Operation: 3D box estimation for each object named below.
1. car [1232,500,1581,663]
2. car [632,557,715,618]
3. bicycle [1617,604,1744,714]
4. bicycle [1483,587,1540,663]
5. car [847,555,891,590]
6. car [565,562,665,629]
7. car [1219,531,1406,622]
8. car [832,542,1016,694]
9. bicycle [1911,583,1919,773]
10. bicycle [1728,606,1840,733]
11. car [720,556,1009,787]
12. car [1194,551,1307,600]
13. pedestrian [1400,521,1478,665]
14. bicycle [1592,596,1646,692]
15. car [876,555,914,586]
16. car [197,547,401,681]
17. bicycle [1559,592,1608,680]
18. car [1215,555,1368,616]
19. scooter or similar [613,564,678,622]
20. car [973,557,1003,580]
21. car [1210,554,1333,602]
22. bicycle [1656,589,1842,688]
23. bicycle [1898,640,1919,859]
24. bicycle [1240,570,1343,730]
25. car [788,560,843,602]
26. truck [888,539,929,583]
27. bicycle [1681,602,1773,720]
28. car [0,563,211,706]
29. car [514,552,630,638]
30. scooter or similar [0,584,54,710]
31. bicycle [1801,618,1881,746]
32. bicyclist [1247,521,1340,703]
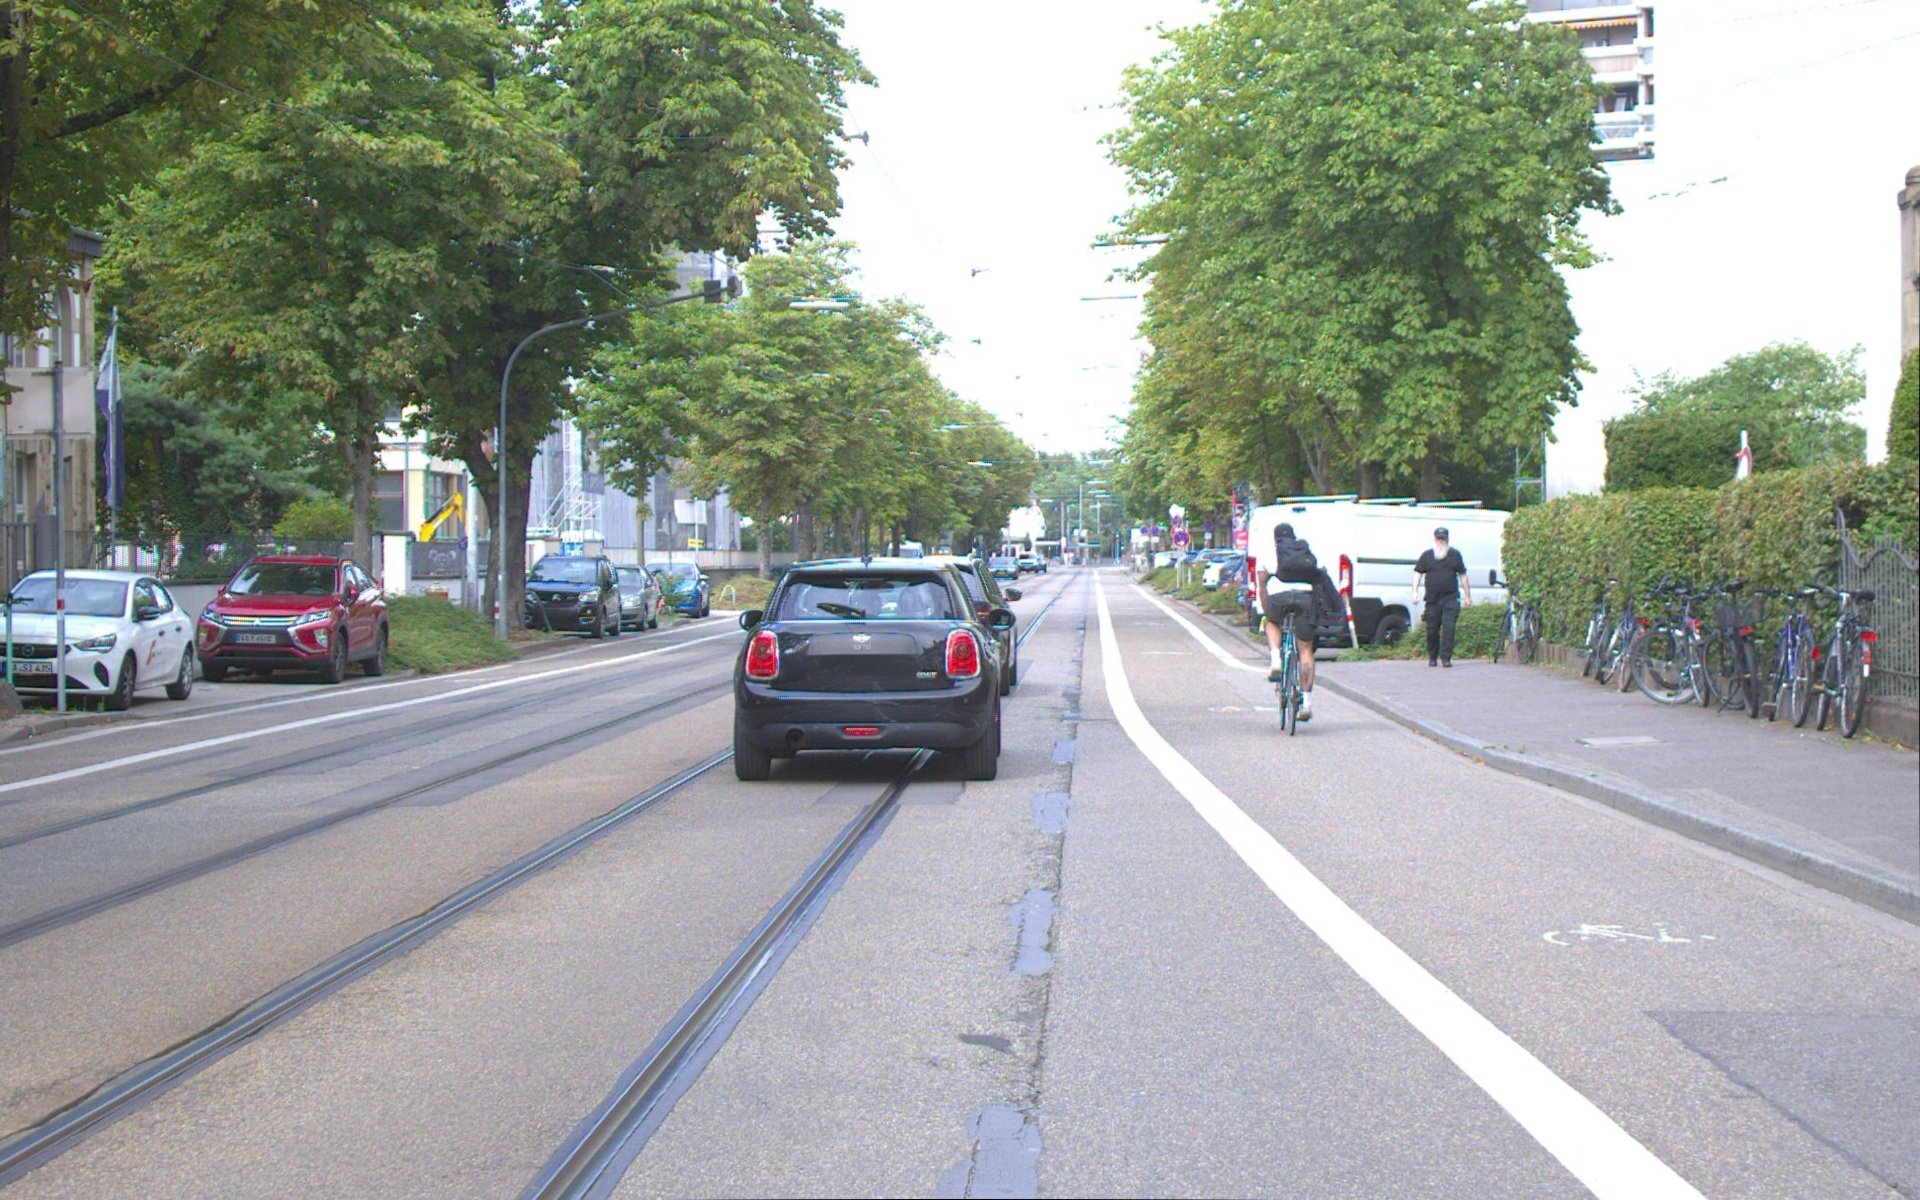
[{"bbox_3d":[6.608,-0.279,50.590,4.944,2.282,2.384,0,0,-40],"label":"car"},{"bbox_3d":[-7.246,-0.334,87.326,1.693,1.482,3.677,1,1,2],"label":"car"},{"bbox_3d":[6.158,0.491,29.442,0.485,0.904,1.665,-1,0,-9],"label":"bicycle"},{"bbox_3d":[6.749,0.293,42.117,0.386,0.904,1.842,-1,0,0],"label":"bicycle"},{"bbox_3d":[-4.276,-1.282,161.492,1.802,1.578,4.031,-1,0,2],"label":"car"},{"bbox_3d":[-7.524,-0.117,75.332,1.693,1.422,3.868,1,1,2],"label":"car"},{"bbox_3d":[7.982,-0.535,77.627,4.264,2.008,1.830,0,0,-43],"label":"car"},{"bbox_3d":[-0.394,0.154,36.360,1.793,1.465,4.000,1,1,-1],"label":"car"},{"bbox_3d":[5.898,0.478,19.717,0.391,1.138,1.921,-2,1,2],"label":"bicycle"},{"bbox_3d":[6.158,0.507,25.741,0.486,0.904,1.665,-1,0,3],"label":"bicycle"},{"bbox_3d":[-0.601,0.420,23.424,1.793,1.418,4.000,1,1,0],"label":"car"},{"bbox_3d":[9.340,-0.797,110.488,3.437,1.567,1.560,-1,1,-36],"label":"car"},{"bbox_3d":[5.936,-0.092,42.632,0.785,1.727,0.896,-3,1,2],"label":"pedestrian"},{"bbox_3d":[6.483,0.423,33.863,0.386,0.904,1.664,-1,0,7],"label":"bicycle"},{"bbox_3d":[-3.414,-1.586,181.790,1.802,1.578,4.031,-1,0,2],"label":"car"},{"bbox_3d":[-8.798,0.148,46.078,1.721,1.649,4.542,2,1,1],"label":"car"},{"bbox_3d":[6.675,0.378,36.847,0.386,0.904,1.664,-1,0,7],"label":"bicycle"},{"bbox_3d":[8.105,-0.356,83.922,3.819,1.455,1.639,0,1,-45],"label":"car"},{"bbox_3d":[-7.594,-0.169,83.107,1.444,1.339,0.700,-1,1,4],"label":"scooter or similar"},{"bbox_3d":[1.785,-2.016,218.119,1.835,1.443,4.553,0,1,2],"label":"car"},{"bbox_3d":[9.483,-0.669,104.494,3.524,1.437,1.623,-1,1,-36],"label":"car"},{"bbox_3d":[7.563,0.362,32.980,1.659,0.904,0.487,-1,0,1],"label":"bicycle"},{"bbox_3d":[4.602,0.676,14.571,0.688,0.959,2.036,0,1,0],"label":"bicycle"},{"bbox_3d":[2.709,0.386,28.254,0.657,1.244,2.125,1,1,1],"label":"bicycle"},{"bbox_3d":[-5.525,-0.736,131.636,1.802,1.578,4.031,-1,0,2],"label":"car"},{"bbox_3d":[-2.891,-2.204,194.861,2.071,2.462,4.899,-1,0,2],"label":"truck"},{"bbox_3d":[6.128,0.475,27.529,0.486,0.904,1.665,-1,0,5],"label":"bicycle"},{"bbox_3d":[-9.511,0.333,37.398,1.721,1.419,4.023,2,1,1],"label":"car"},{"bbox_3d":[-7.727,-0.124,68.750,1.756,1.641,4.052,1,1,2],"label":"car"},{"bbox_3d":[-9.459,0.458,34.501,0.561,1.218,1.324,0,1,-21],"label":"scooter or similar"},{"bbox_3d":[6.127,0.561,23.929,0.278,0.849,1.198,-1,0,3],"label":"bicycle"},{"bbox_3d":[2.725,0.088,28.179,0.657,1.458,1.178,1,1,1],"label":"bicyclist"}]
